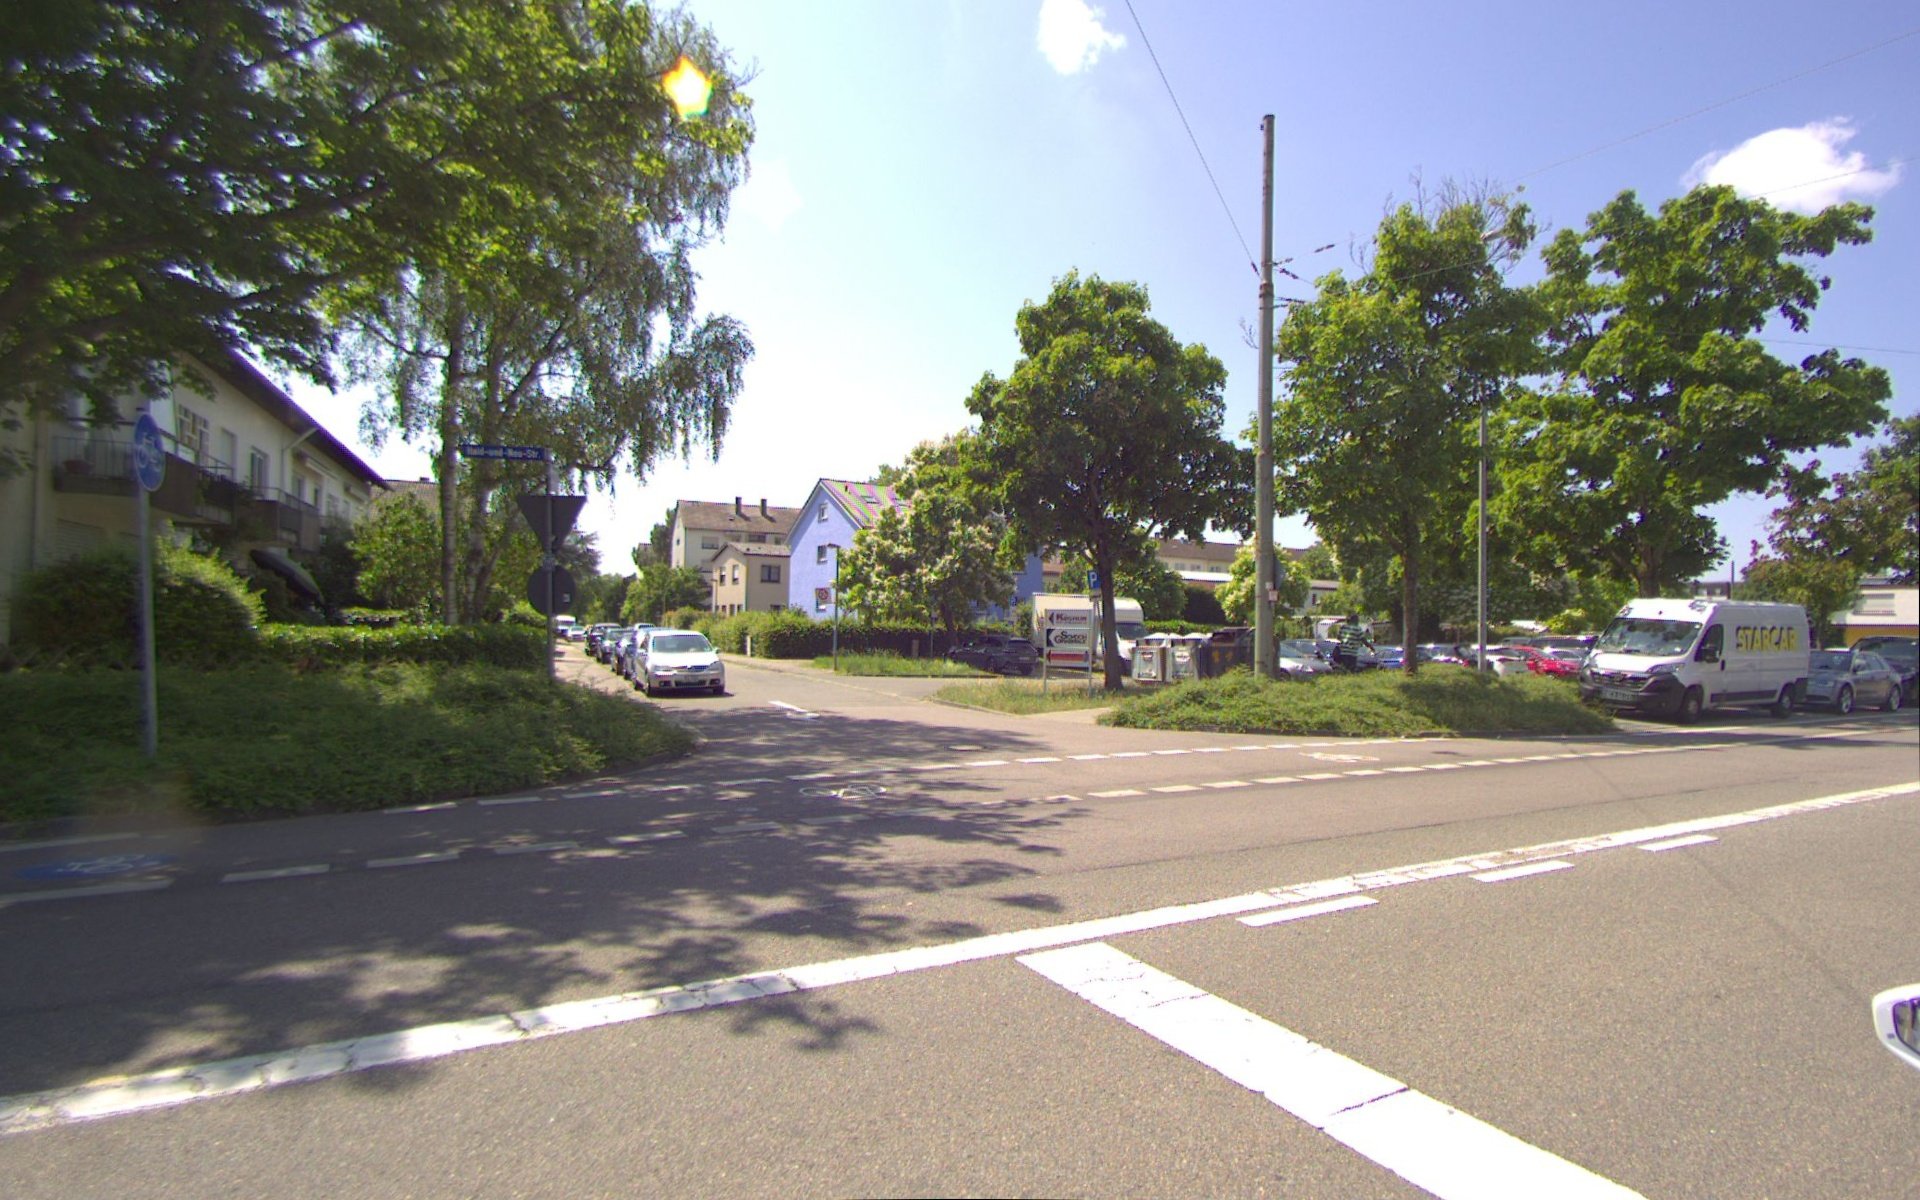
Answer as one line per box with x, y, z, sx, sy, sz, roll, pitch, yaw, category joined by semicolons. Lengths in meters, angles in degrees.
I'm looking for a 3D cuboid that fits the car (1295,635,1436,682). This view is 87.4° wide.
13.072;1.856;32.596;1.785;1.357;3.966;2;-2;-31;car

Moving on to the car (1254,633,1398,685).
11.226;1.775;31.067;1.785;1.461;3.966;2;-2;-31;car

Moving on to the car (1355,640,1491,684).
15.858;2.086;34.599;1.785;1.357;3.966;2;-2;-31;car

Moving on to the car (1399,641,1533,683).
18.057;2.180;36.005;1.785;1.357;3.966;2;-2;-31;car

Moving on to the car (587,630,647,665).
-14.352;1.948;41.906;1.788;1.334;3.972;2;-2;-27;car

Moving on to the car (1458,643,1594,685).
20.606;2.293;36.707;1.785;1.357;3.966;2;-2;-31;car

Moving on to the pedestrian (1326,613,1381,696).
9.004;1.223;22.981;0.962;1.847;0.791;0;-2;39;pedestrian

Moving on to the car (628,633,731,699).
-6.780;1.520;24.020;1.786;1.376;3.977;2;-2;-24;car

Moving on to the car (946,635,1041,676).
1.246;2.116;38.784;1.753;1.417;3.965;2;-2;-32;car

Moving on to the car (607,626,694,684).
-8.997;1.537;29.034;1.787;1.536;3.974;2;-2;-26;car

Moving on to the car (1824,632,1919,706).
26.336;1.898;28.239;4.221;1.920;1.859;2;-2;-31;car

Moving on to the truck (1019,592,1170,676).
5.575;1.410;42.927;2.307;3.270;7.146;2;-2;-32;truck

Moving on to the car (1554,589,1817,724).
15.796;1.173;21.770;6.117;2.520;2.147;2;2;-29;car

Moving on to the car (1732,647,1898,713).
21.125;1.922;24.790;4.292;1.456;1.859;2;-2;-31;car

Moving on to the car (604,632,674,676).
-10.783;1.764;33.595;1.786;1.334;3.977;2;-2;-24;car

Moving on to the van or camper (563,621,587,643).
-36.082;2.985;94.115;1.855;2.040;3.976;2;-2;-25;van or camper

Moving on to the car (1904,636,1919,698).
32.163;2.145;31.829;4.815;1.923;2.051;2;-2;-31;car
